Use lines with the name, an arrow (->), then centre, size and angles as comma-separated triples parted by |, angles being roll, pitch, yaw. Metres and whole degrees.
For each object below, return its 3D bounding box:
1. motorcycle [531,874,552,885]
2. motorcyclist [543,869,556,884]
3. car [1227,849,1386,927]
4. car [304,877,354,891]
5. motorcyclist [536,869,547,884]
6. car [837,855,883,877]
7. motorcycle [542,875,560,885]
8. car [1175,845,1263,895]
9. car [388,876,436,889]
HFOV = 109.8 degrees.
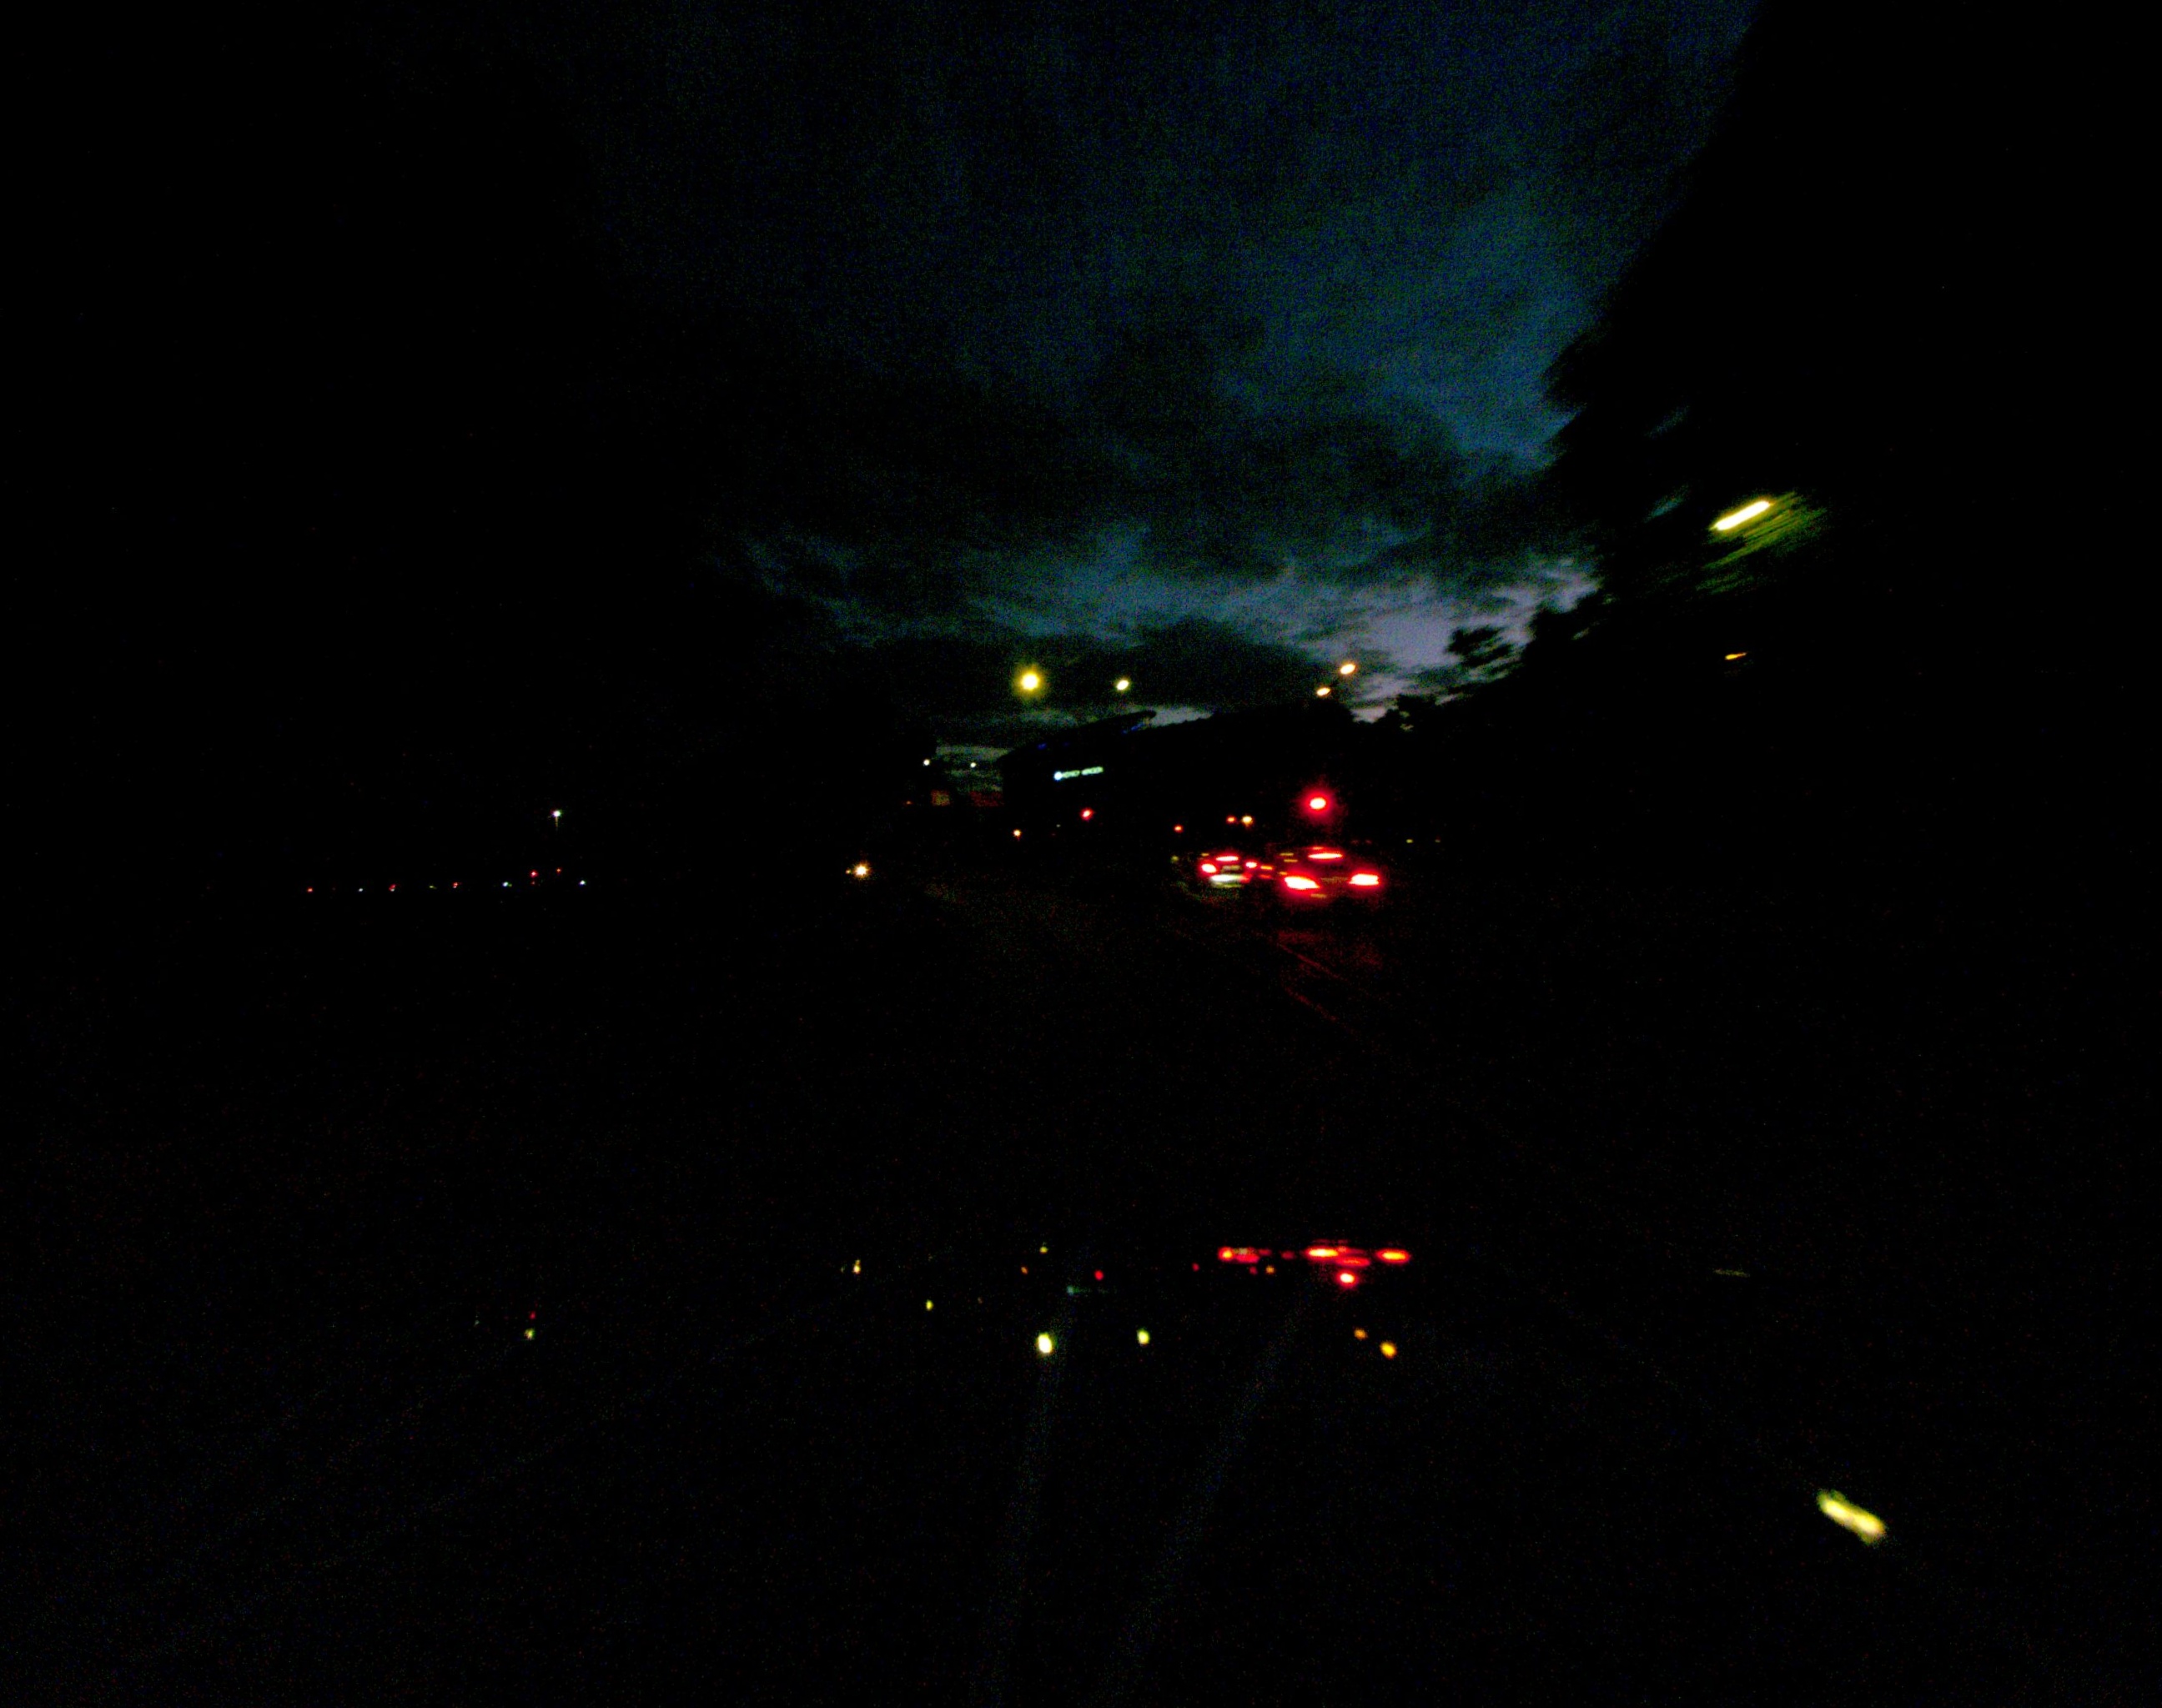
motorcycle -> -65.182, 3.029, 91.804 | 0.848, 1.175, 1.822 | 0, 4, 17
motorcyclist -> -64.193, 2.699, 91.782 | 0.915, 1.800, 0.871 | 0, 6, 22
car -> 4.661, 0.621, 16.480 | 1.764, 1.395, 4.584 | -2, 1, -4
car -> -89.407, 3.561, 90.401 | 4.007, 1.515, 1.833 | -2, 0, -38
motorcyclist -> -65.176, 2.700, 91.804 | 0.682, 1.750, 0.790 | 0, 4, 17
car -> -18.021, 0.987, 61.955 | 1.674, 1.643, 4.399 | -4, 1, -43
motorcycle -> -64.133, 3.086, 91.874 | 0.721, 1.028, 1.578 | 0, 5, 22
car -> 4.553, 0.457, 25.680 | 1.764, 1.437, 4.524 | -3, 1, -5
car -> -83.786, 3.528, 95.253 | 4.298, 1.437, 1.782 | -2, -2, -36
